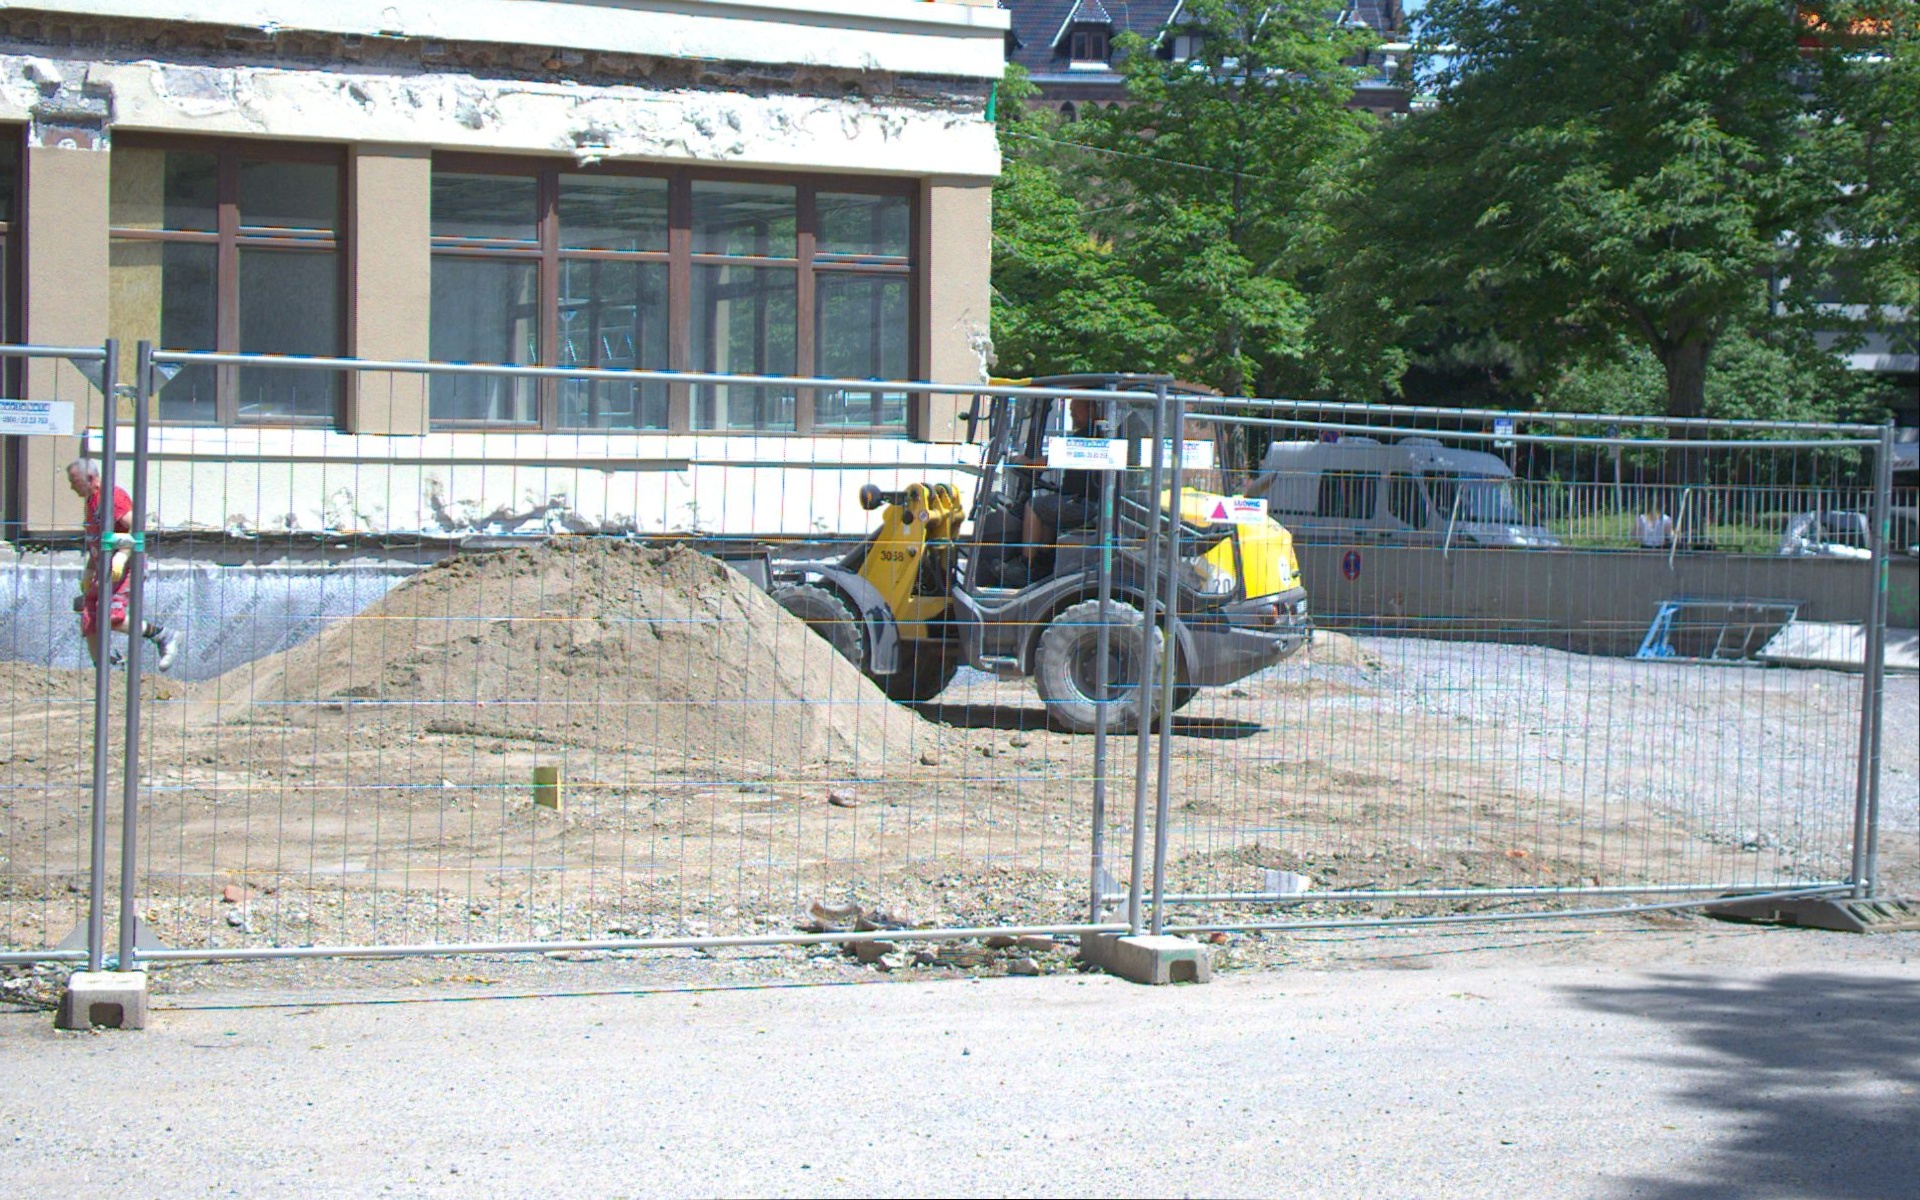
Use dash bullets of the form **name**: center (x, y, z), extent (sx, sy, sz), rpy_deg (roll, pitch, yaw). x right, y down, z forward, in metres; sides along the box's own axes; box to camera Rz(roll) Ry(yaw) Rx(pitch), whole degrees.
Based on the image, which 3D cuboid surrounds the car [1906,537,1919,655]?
- **car**: center (12.580, -0.037, 38.646), extent (3.713, 1.316, 1.614), rpy_deg (0, 2, -30)

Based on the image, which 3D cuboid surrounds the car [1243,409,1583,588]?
- **car**: center (6.370, -1.441, 49.040), extent (1.993, 2.408, 5.244), rpy_deg (0, 2, -30)

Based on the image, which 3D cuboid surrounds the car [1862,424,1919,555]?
- **car**: center (17.434, -1.951, 61.204), extent (2.186, 2.250, 4.864), rpy_deg (1, 2, 20)

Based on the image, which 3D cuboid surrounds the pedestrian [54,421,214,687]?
- **pedestrian**: center (-5.871, -0.331, 24.419), extent (0.983, 1.840, 0.917), rpy_deg (0, 2, -22)

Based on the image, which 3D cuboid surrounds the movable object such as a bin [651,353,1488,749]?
- **movable object such as a bin**: center (0.802, -0.410, 24.458), extent (5.408, 2.455, 2.366), rpy_deg (3, 2, 19)
